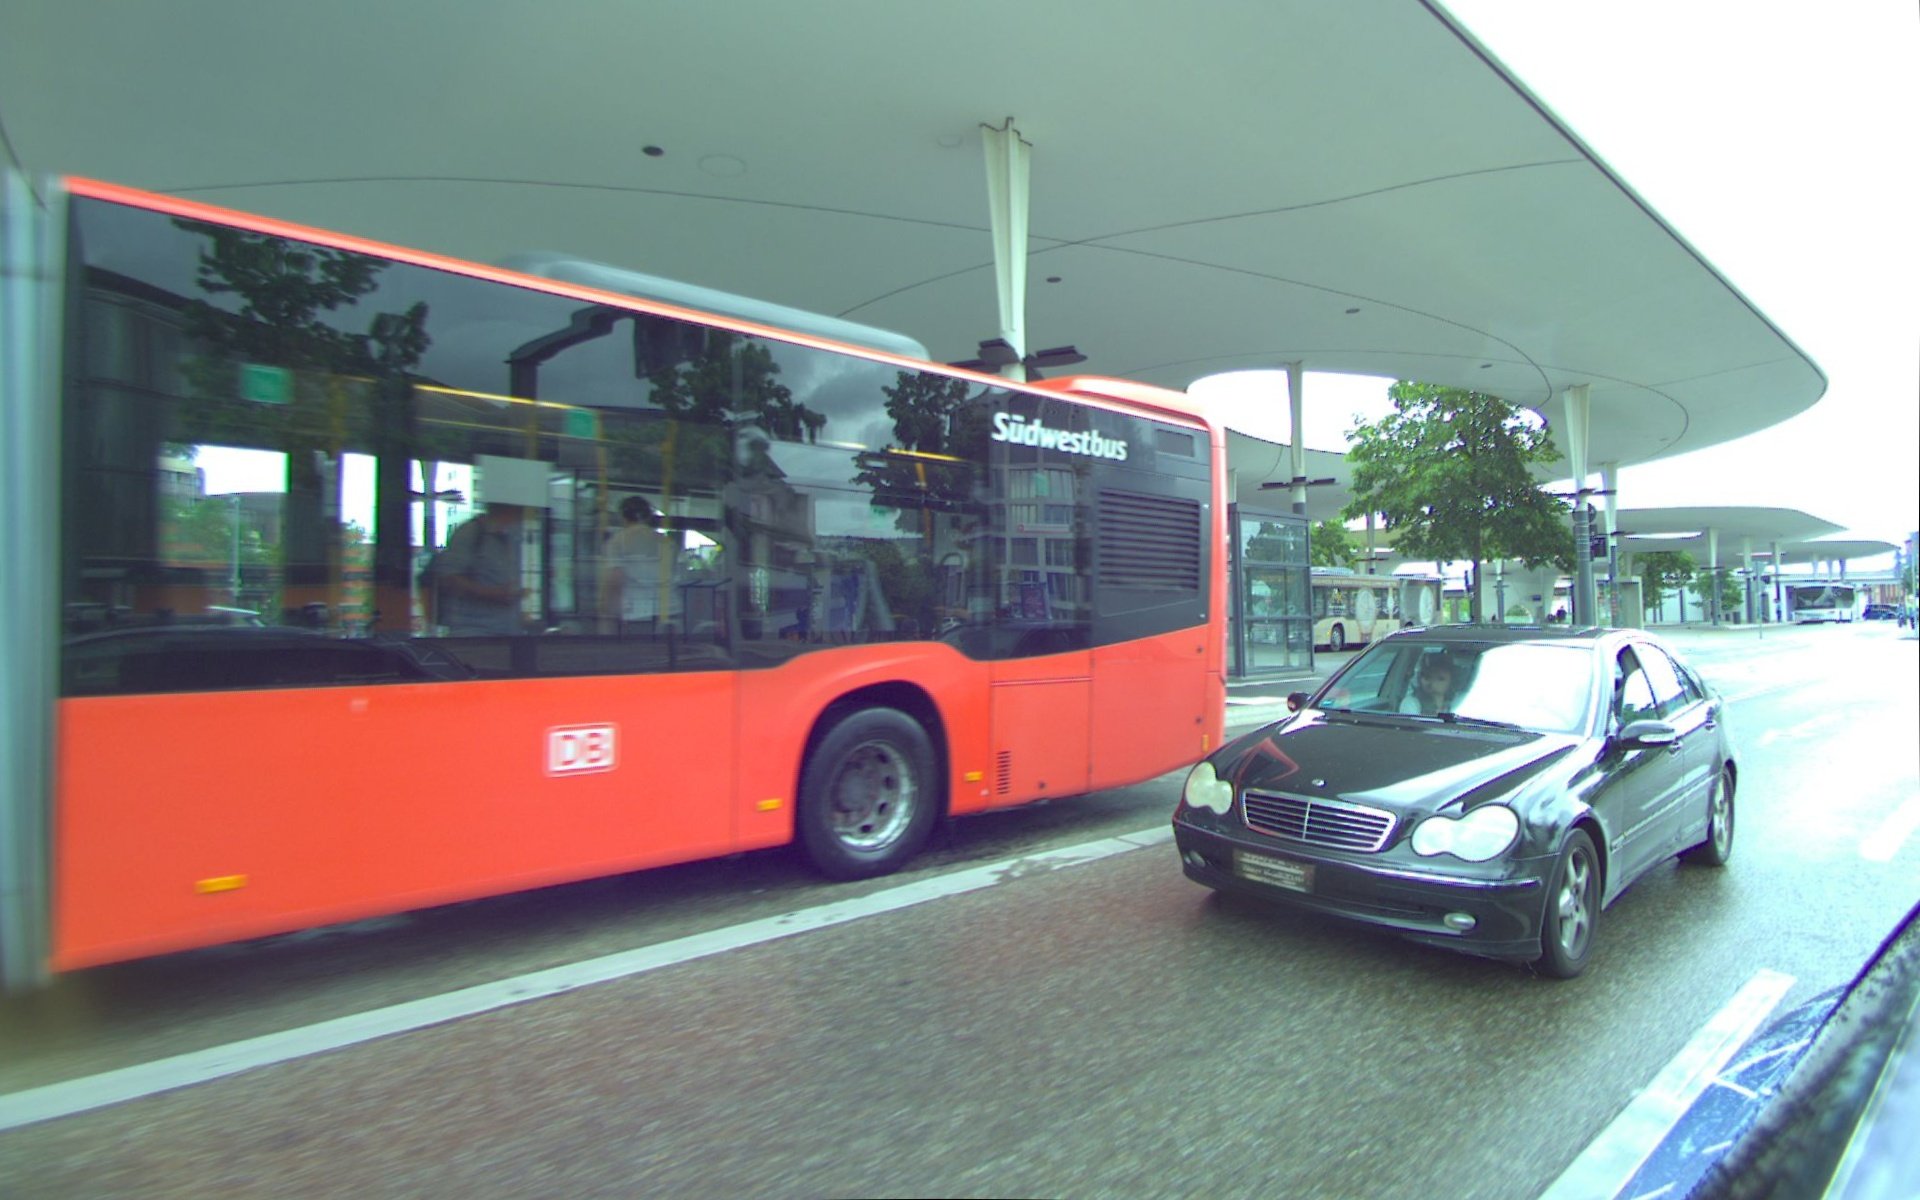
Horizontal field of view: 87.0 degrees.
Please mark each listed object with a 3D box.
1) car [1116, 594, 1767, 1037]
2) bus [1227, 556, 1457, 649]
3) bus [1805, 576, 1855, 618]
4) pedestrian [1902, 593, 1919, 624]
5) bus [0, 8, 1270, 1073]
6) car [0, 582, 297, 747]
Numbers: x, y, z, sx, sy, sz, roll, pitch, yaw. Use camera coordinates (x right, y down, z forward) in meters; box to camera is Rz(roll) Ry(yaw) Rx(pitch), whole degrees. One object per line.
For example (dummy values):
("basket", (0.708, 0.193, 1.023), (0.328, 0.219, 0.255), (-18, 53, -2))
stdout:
("car", (2.915, 0.732, 5.570), (4.360, 1.499, 1.747), (0, -1, -43))
("bus", (15.232, 0.134, 39.509), (12.140, 3.146, 2.999), (0, -2, -41))
("bus", (70.337, -0.207, 81.716), (2.666, 3.169, 9.565), (-1, 0, 43))
("pedestrian", (51.247, 0.440, 54.568), (0.577, 1.645, 0.576), (0, -1, -41))
("bus", (-1.546, -0.183, 6.069), (7.978, 3.214, 2.747), (0, 0, -41))
("car", (-10.024, 0.677, 11.157), (4.356, 1.670, 1.803), (0, -2, -41))
